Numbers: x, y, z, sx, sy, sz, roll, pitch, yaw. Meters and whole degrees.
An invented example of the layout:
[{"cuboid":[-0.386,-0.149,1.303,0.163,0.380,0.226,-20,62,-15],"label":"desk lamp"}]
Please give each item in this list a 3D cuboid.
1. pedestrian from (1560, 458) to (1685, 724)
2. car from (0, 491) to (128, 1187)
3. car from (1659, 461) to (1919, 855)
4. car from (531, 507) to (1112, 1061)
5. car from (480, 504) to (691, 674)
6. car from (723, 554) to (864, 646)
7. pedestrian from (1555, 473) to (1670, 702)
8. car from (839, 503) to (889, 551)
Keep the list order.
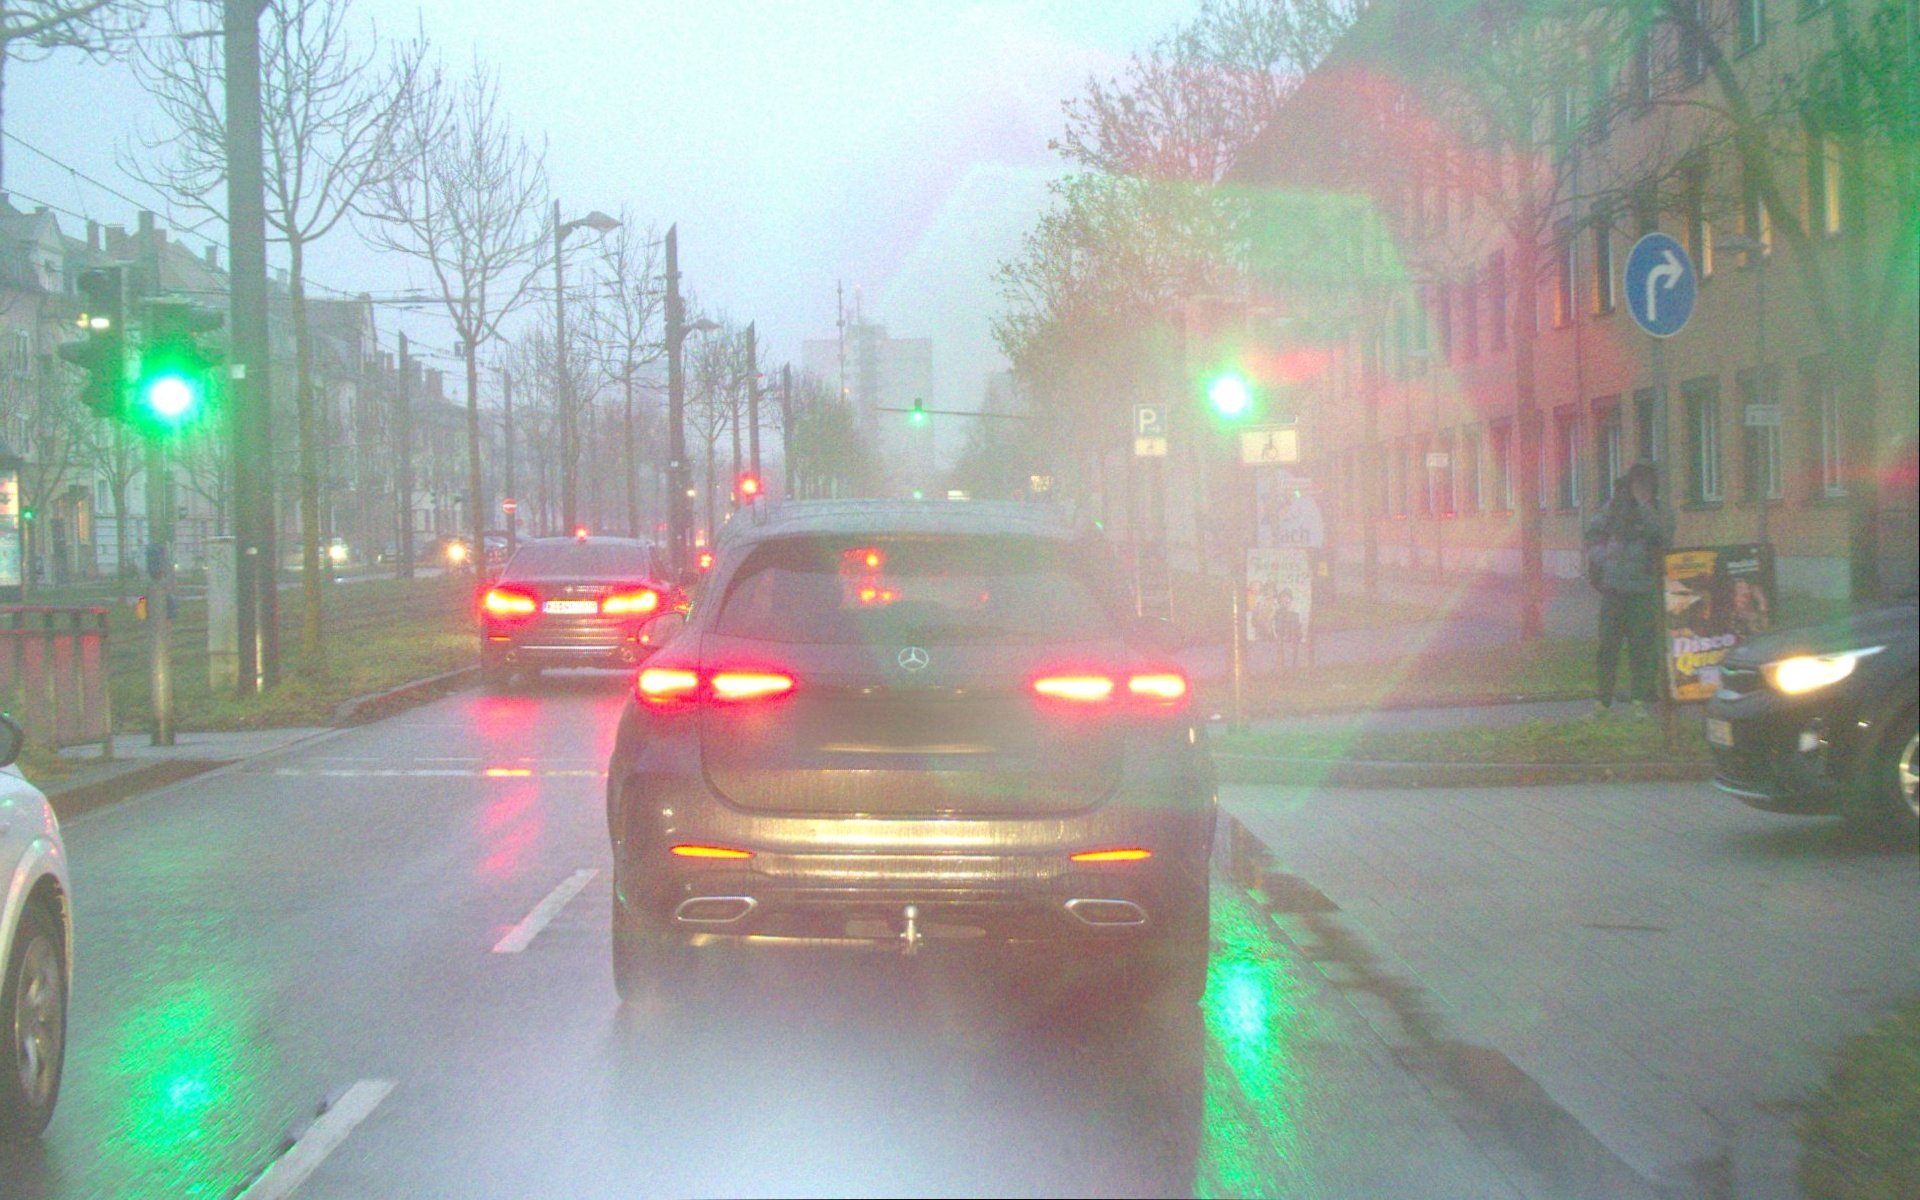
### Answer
[{"cuboid":[4.618,-0.067,23.991,0.504,1.818,0.658,-3,1,-26],"label":"pedestrian"},{"cuboid":[-3.035,0.566,7.071,1.672,1.594,4.054,0,1,0],"label":"car"},{"cuboid":[5.166,0.139,14.615,3.987,1.550,1.742,-3,1,1],"label":"car"},{"cuboid":[-0.409,0.491,11.953,1.672,1.594,4.054,0,1,0],"label":"car"},{"cuboid":[-3.677,-0.145,34.319,1.672,1.594,4.054,0,1,0],"label":"car"},{"cuboid":[-2.573,-0.021,53.911,1.993,1.294,3.479,-2,1,0],"label":"car"},{"cuboid":[5.033,-0.099,26.537,0.504,1.736,0.658,-3,1,-33],"label":"pedestrian"},{"cuboid":[-4.062,-3.079,144.964,1.993,1.908,4.001,-2,1,-2],"label":"car"}]
